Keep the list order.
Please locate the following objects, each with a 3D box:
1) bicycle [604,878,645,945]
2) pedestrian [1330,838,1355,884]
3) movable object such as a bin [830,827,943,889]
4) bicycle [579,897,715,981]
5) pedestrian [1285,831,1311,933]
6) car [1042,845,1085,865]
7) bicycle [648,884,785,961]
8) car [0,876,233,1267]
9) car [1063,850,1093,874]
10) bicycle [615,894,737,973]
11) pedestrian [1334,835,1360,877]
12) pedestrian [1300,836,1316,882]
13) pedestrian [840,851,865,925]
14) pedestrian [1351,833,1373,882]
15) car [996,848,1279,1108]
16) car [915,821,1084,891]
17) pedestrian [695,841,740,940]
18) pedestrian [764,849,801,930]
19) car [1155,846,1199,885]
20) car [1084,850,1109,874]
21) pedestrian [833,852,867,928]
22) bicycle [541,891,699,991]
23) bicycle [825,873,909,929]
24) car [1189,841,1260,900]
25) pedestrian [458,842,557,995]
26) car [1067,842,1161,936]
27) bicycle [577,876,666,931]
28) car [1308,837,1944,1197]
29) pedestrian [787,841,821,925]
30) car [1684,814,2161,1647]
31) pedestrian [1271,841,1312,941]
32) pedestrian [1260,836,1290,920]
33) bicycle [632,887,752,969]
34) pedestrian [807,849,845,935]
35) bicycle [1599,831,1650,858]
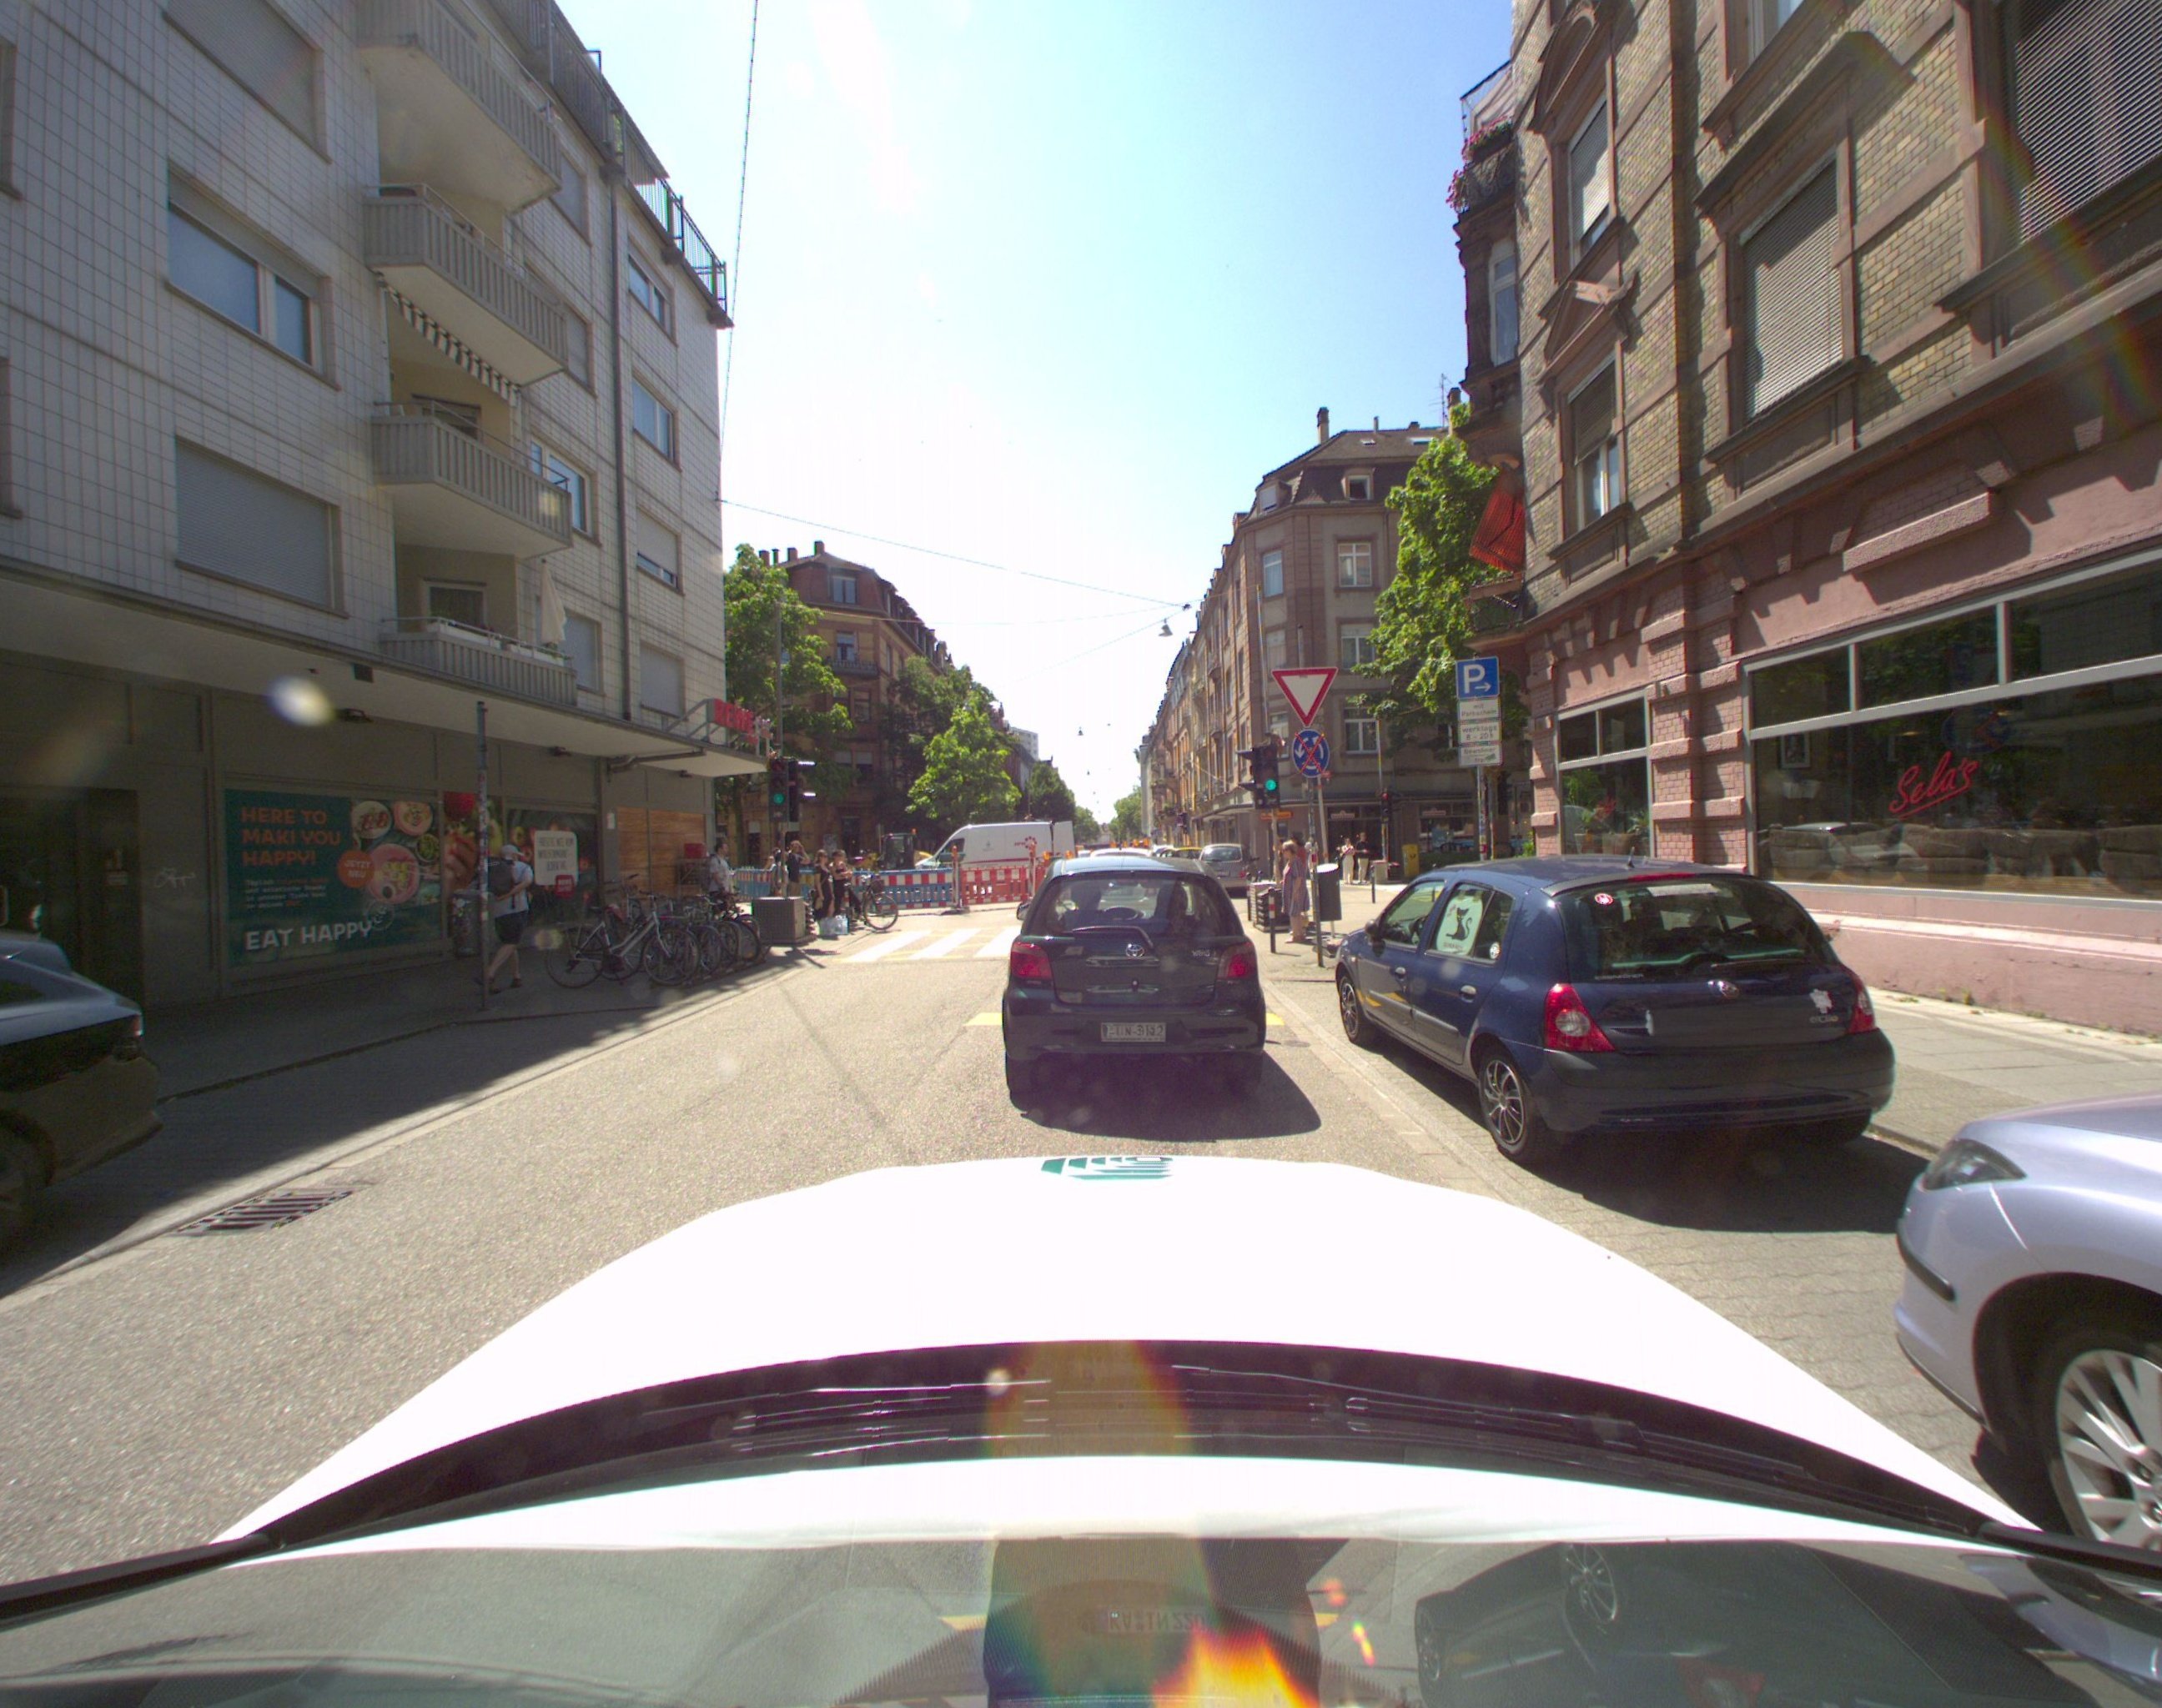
[{"bbox_3d":[-8.228,1.013,14.720,0.321,1.086,1.424,-1,1,-17],"label":"bicycle"},{"bbox_3d":[9.623,0.253,29.929,0.701,1.645,0.422,-4,3,-7],"label":"pedestrian"},{"bbox_3d":[-8.594,0.179,36.280,4.525,2.659,1.956,0,0,2],"label":"movable object such as a bin"},{"bbox_3d":[-5.516,1.077,10.382,1.490,1.030,0.397,0,0,-3],"label":"bicycle"},{"bbox_3d":[3.652,0.467,13.734,0.330,1.675,0.402,-2,0,8],"label":"pedestrian"},{"bbox_3d":[-2.087,0.139,95.365,4.581,2.187,1.983,-2,0,-26],"label":"car"},{"bbox_3d":[-5.518,1.022,12.387,1.794,1.123,0.577,0,0,-5],"label":"bicycle"},{"bbox_3d":[-5.199,0.901,1.886,1.663,1.525,4.466,-1,0,2],"label":"car"},{"bbox_3d":[-0.144,0.508,53.462,1.748,1.444,4.002,-2,0,2],"label":"car"},{"bbox_3d":[-5.476,1.076,11.042,1.444,1.036,0.335,0,0,-3],"label":"bicycle"},{"bbox_3d":[10.375,0.077,31.831,0.798,1.623,0.644,-2,0,4],"label":"pedestrian"},{"bbox_3d":[8.675,0.190,31.112,0.473,1.732,0.876,-2,-1,21],"label":"pedestrian"},{"bbox_3d":[-5.082,0.755,18.135,0.388,1.618,0.475,-2,0,-1],"label":"pedestrian"},{"bbox_3d":[10.392,0.114,30.138,0.574,1.768,0.470,-4,3,-7],"label":"pedestrian"},{"bbox_3d":[0.423,0.717,6.325,1.607,1.485,3.244,-1,0,3],"label":"car"},{"bbox_3d":[-3.236,0.085,33.451,6.594,2.751,2.381,0,0,2],"label":"car"},{"bbox_3d":[-6.673,0.664,14.979,0.507,1.770,0.599,-2,0,-1],"label":"pedestrian"},{"bbox_3d":[-6.177,0.728,16.879,0.507,1.633,0.599,-2,0,-1],"label":"pedestrian"},{"bbox_3d":[3.981,0.446,33.380,1.618,1.432,3.669,-3,0,8],"label":"car"},{"bbox_3d":[1.210,0.603,62.943,1.748,1.645,4.380,-5,0,2],"label":"car"},{"bbox_3d":[-4.849,0.745,17.116,0.491,1.565,0.462,0,1,28],"label":"pedestrian"},{"bbox_3d":[-5.530,1.036,9.822,1.580,1.139,0.526,0,0,-3],"label":"bicycle"},{"bbox_3d":[-4.536,0.969,17.249,1.789,1.119,0.470,0,0,23],"label":"bicycle"},{"bbox_3d":[4.345,0.445,24.384,1.510,1.592,3.280,-2,0,20],"label":"car"},{"bbox_3d":[-6.732,0.734,9.585,0.628,1.726,0.658,-2,0,2],"label":"pedestrian"},{"bbox_3d":[0.598,0.568,15.173,1.517,1.521,3.265,-2,0,1],"label":"car"},{"bbox_3d":[-9.648,1.027,17.135,1.573,1.072,0.341,-2,0,-16],"label":"bicycle"},{"bbox_3d":[2.810,0.681,5.264,1.622,1.432,3.660,-3,0,0],"label":"car"},{"bbox_3d":[-6.133,0.632,18.048,0.507,1.820,0.599,-2,0,-1],"label":"pedestrian"},{"bbox_3d":[2.709,0.629,0.230,1.720,1.432,4.485,-3,0,0],"label":"car"},{"bbox_3d":[3.343,0.582,12.952,0.490,1.543,0.437,-4,0,7],"label":"pedestrian"},{"bbox_3d":[3.670,0.443,15.406,0.457,1.560,0.480,-2,0,8],"label":"pedestrian"},{"bbox_3d":[-5.494,1.040,11.534,1.515,1.117,0.335,0,0,-3],"label":"bicycle"},{"bbox_3d":[-4.985,0.726,15.938,0.539,1.633,0.511,-2,0,-1],"label":"pedestrian"},{"bbox_3d":[21.446,-0.378,32.135,1.719,0.996,0.504,-2,2,-3],"label":"bicycle"}]
